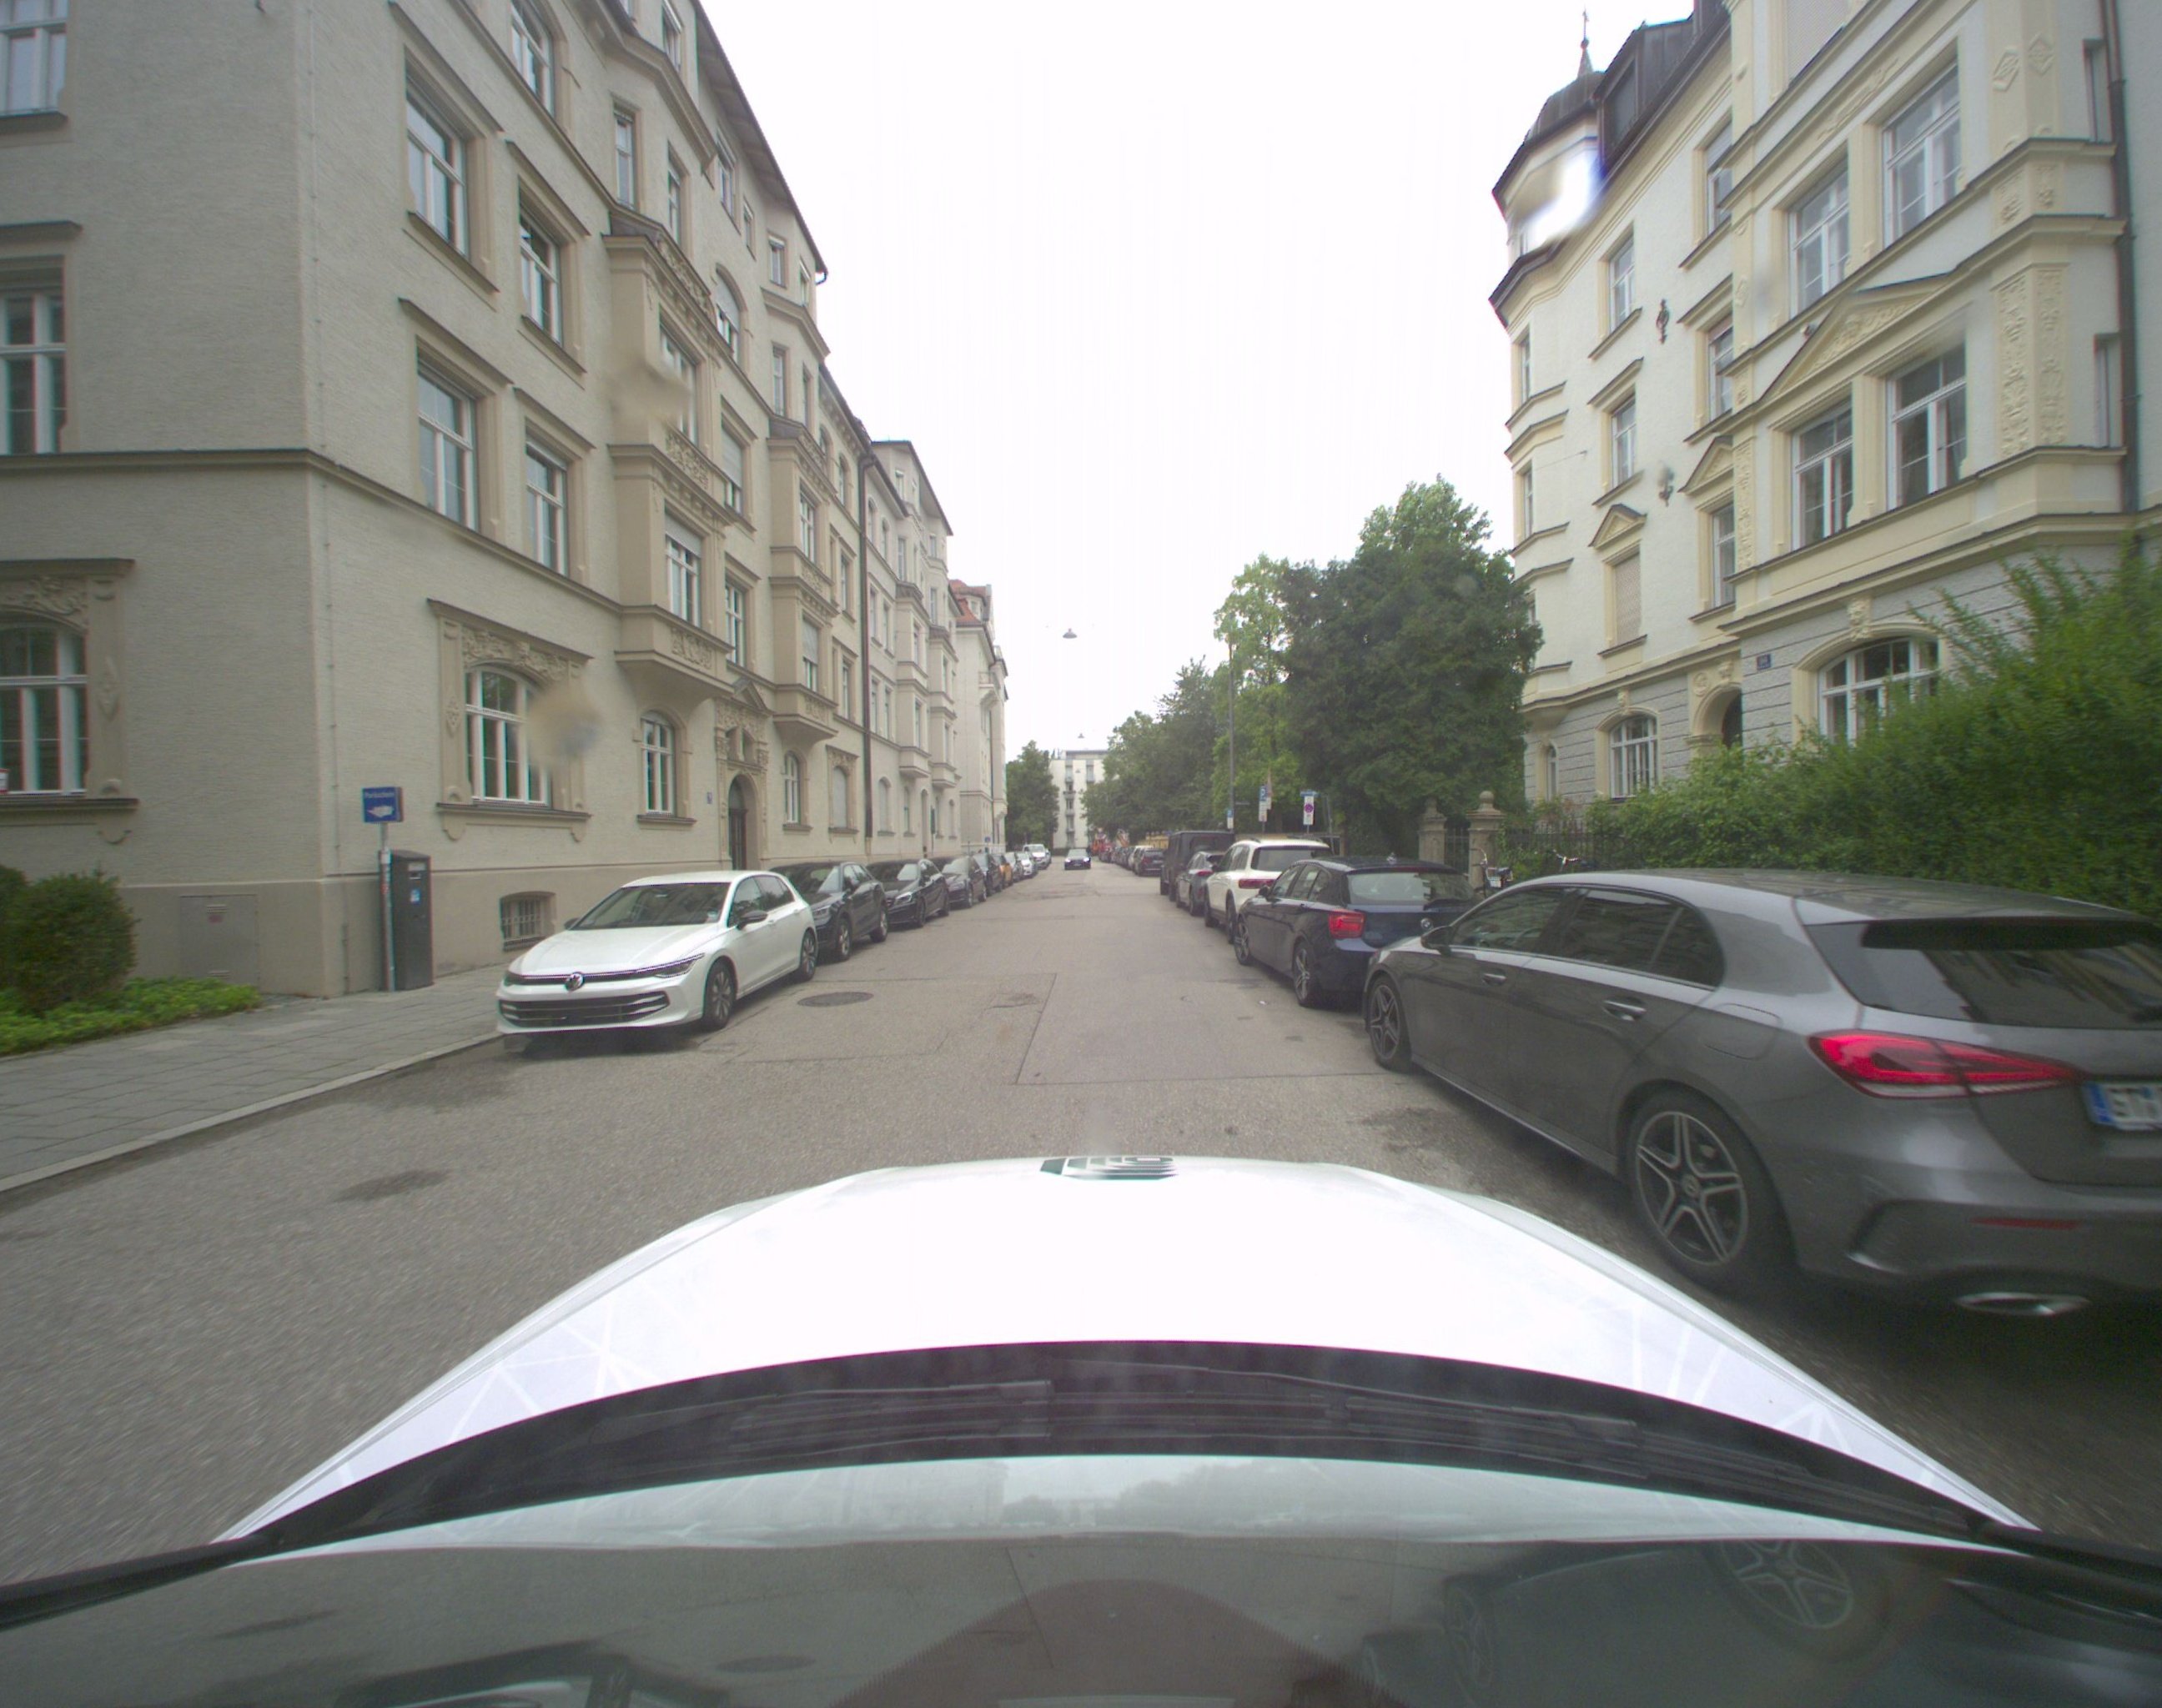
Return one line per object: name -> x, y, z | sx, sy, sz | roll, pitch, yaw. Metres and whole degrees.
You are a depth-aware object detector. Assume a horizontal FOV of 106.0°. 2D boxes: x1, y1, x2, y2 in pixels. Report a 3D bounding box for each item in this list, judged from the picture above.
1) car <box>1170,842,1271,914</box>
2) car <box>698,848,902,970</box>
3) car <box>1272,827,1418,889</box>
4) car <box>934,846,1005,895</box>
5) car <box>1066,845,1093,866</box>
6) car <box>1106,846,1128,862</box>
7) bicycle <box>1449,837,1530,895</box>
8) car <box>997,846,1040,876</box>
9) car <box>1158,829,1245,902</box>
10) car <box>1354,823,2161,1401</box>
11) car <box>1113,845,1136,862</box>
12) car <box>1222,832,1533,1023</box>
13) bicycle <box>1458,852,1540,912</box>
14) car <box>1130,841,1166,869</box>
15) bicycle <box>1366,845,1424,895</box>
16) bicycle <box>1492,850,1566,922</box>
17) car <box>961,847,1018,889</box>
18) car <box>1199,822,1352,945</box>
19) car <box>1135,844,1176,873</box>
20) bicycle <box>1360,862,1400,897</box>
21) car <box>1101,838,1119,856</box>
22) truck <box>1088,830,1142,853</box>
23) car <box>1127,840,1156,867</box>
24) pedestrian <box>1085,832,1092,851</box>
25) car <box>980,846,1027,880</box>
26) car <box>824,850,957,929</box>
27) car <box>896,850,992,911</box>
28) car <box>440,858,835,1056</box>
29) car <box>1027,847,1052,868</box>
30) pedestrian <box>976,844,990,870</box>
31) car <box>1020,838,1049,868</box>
car -> 3.198, 0.514, 19.287 | 1.717, 1.518, 3.630 | 1, 0, -1
car -> -4.358, 0.741, 13.425 | 1.765, 1.518, 4.384 | -4, 1, -1
car -> 9.296, 0.095, 28.884 | 4.522, 1.950, 1.900 | -2, 2, -6
car -> -3.865, 0.518, 28.797 | 1.746, 1.499, 4.021 | -3, 1, 2
car -> -0.159, 0.083, 59.021 | 1.869, 1.428, 4.407 | -1, 0, -1
car -> 3.563, -0.029, 80.664 | 1.834, 1.519, 3.944 | 0, 0, -2
bicycle -> 8.644, 0.253, 17.245 | 1.484, 1.198, 0.489 | 1, 0, -5
car -> -3.357, 0.351, 44.463 | 1.829, 1.438, 4.277 | -4, 1, 2
car -> 3.422, 0.249, 23.980 | 1.944, 1.954, 4.667 | 0, 1, 1
car -> 2.935, 0.652, 4.158 | 1.679, 1.504, 4.016 | 0, 0, -1
car -> 4.059, -0.059, 76.492 | 1.834, 1.519, 3.944 | 0, 0, -2
car -> 2.894, 0.586, 9.100 | 1.745, 1.610, 4.421 | 0, 1, -2
bicycle -> 7.946, 0.520, 15.501 | 1.305, 1.098, 0.456 | -2, 0, -1
car -> 3.854, 0.056, 47.217 | 1.648, 1.519, 3.792 | 0, 0, -2
bicycle -> 7.099, 0.348, 18.463 | 0.514, 1.094, 1.347 | -1, 0, -16
bicycle -> 7.210, 0.483, 13.151 | 0.453, 1.098, 1.313 | -1, 0, 0
car -> -3.750, 0.525, 33.997 | 1.634, 1.499, 3.974 | -4, 1, 2
car -> 3.180, 0.432, 14.150 | 1.716, 1.769, 4.415 | 1, 0, 2
car -> 3.780, 0.220, 41.918 | 1.832, 1.413, 4.343 | 0, 0, 1
bicycle -> 7.218, 0.594, 19.685 | 0.511, 0.781, 1.355 | -1, 0, 2
car -> 3.304, -0.812, 92.520 | 1.828, 1.926, 4.008 | 1, 1, 3
truck -> 5.158, -1.884, 124.660 | 7.676, 3.241, 2.887 | -2, 0, -12
car -> 3.819, -0.005, 51.949 | 1.509, 1.661, 3.672 | 0, 0, -1
pedestrian -> 0.980, -1.592, 103.762 | 0.838, 2.285, 0.843 | -1, 0, 4
car -> -3.719, 0.417, 39.572 | 1.719, 1.499, 3.932 | -3, 0, 2
car -> -4.117, 0.687, 18.382 | 1.827, 1.434, 4.553 | -3, 1, 0
car -> -3.813, 0.682, 23.399 | 1.829, 1.435, 4.247 | -4, 1, 2
car -> -4.243, 0.846, 8.744 | 1.830, 1.434, 4.244 | -3, 1, 0
car -> -3.813, 0.274, 74.913 | 2.009, 1.726, 4.273 | -4, 1, -1
pedestrian -> -6.482, 0.186, 53.835 | 0.790, 1.679, 0.700 | -2, 0, -2
car -> -3.577, -0.128, 62.972 | 1.880, 2.127, 4.705 | -4, 1, -1
